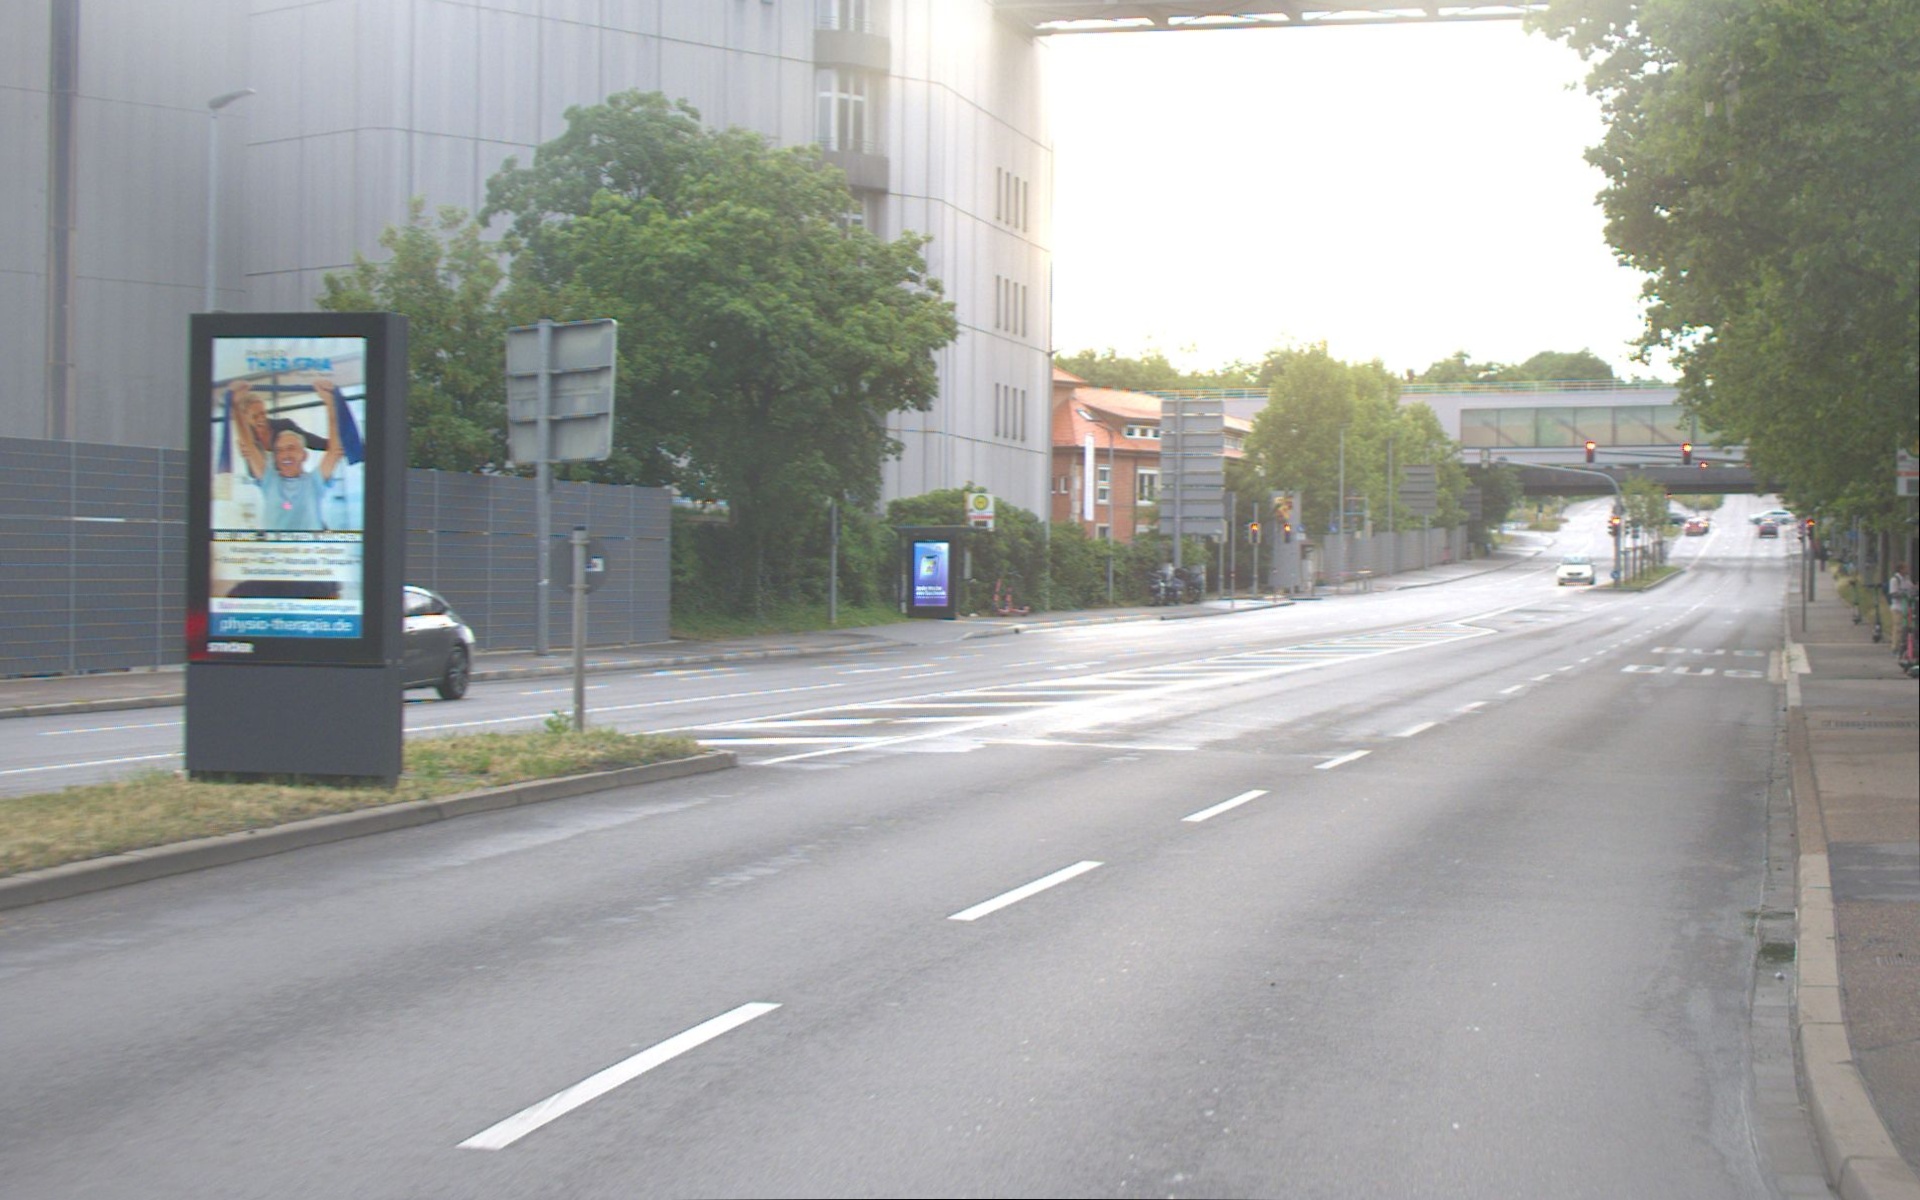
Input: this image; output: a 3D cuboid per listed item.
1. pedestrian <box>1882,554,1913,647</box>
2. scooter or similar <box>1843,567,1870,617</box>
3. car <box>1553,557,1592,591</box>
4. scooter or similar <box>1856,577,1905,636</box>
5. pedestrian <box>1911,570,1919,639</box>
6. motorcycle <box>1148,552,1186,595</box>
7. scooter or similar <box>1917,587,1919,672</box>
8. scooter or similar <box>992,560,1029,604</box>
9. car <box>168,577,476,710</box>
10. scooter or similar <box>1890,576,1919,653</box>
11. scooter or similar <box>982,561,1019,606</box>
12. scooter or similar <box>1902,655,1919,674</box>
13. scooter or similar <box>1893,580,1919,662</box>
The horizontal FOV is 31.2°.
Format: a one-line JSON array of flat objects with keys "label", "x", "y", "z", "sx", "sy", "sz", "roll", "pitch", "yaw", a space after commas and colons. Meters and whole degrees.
[{"label": "pedestrian", "x": 16.880, "y": 0.010, "z": 61.915, "sx": 0.481, "sy": 1.661, "sz": 0.662, "roll": 0, "pitch": 1, "yaw": 11}, {"label": "scooter or similar", "x": 24.873, "y": -0.236, "z": 95.363, "sx": 0.609, "sy": 1.361, "sz": 1.919, "roll": 0, "pitch": 1, "yaw": 18}, {"label": "car", "x": 31.962, "y": -1.380, "z": 179.345, "sx": 1.994, "sy": 1.766, "sz": 3.998, "roll": 0, "pitch": 1, "yaw": 10}, {"label": "scooter or similar", "x": 19.726, "y": 0.132, "z": 73.644, "sx": 0.700, "sy": 1.240, "sz": 1.919, "roll": 1, "pitch": 1, "yaw": 25}, {"label": "pedestrian", "x": 18.645, "y": 0.086, "z": 65.545, "sx": 0.952, "sy": 1.312, "sz": 0.685, "roll": 0, "pitch": 1, "yaw": 20}, {"label": "motorcycle", "x": 7.546, "y": -0.980, "z": 125.079, "sx": 0.959, "sy": 1.550, "sz": 3.298, "roll": 0, "pitch": 1, "yaw": 11}, {"label": "scooter or similar", "x": 14.351, "y": 0.433, "z": 50.755, "sx": 0.389, "sy": 1.222, "sz": 1.073, "roll": 0, "pitch": 1, "yaw": 14}, {"label": "scooter or similar", "x": 1.457, "y": -0.525, "z": 98.462, "sx": 0.498, "sy": 1.248, "sz": 1.919, "roll": 0, "pitch": 1, "yaw": 18}, {"label": "car", "x": -7.316, "y": 0.465, "z": 39.916, "sx": 1.784, "sy": 1.380, "sz": 4.543, "roll": -2, "pitch": 0, "yaw": 14}, {"label": "scooter or similar", "x": 16.137, "y": 0.234, "z": 58.616, "sx": 0.503, "sy": 1.288, "sz": 1.433, "roll": 0, "pitch": 1, "yaw": 14}, {"label": "scooter or similar", "x": 1.140, "y": -0.464, "z": 96.472, "sx": 0.525, "sy": 1.248, "sz": 1.797, "roll": 0, "pitch": 1, "yaw": 18}, {"label": "scooter or similar", "x": 14.121, "y": 0.936, "z": 49.235, "sx": 0.652, "sy": 0.245, "sz": 1.525, "roll": 0, "pitch": 1, "yaw": -8}, {"label": "scooter or similar", "x": 14.925, "y": 0.329, "z": 54.089, "sx": 0.434, "sy": 1.266, "sz": 1.193, "roll": 0, "pitch": 1, "yaw": 14}]
